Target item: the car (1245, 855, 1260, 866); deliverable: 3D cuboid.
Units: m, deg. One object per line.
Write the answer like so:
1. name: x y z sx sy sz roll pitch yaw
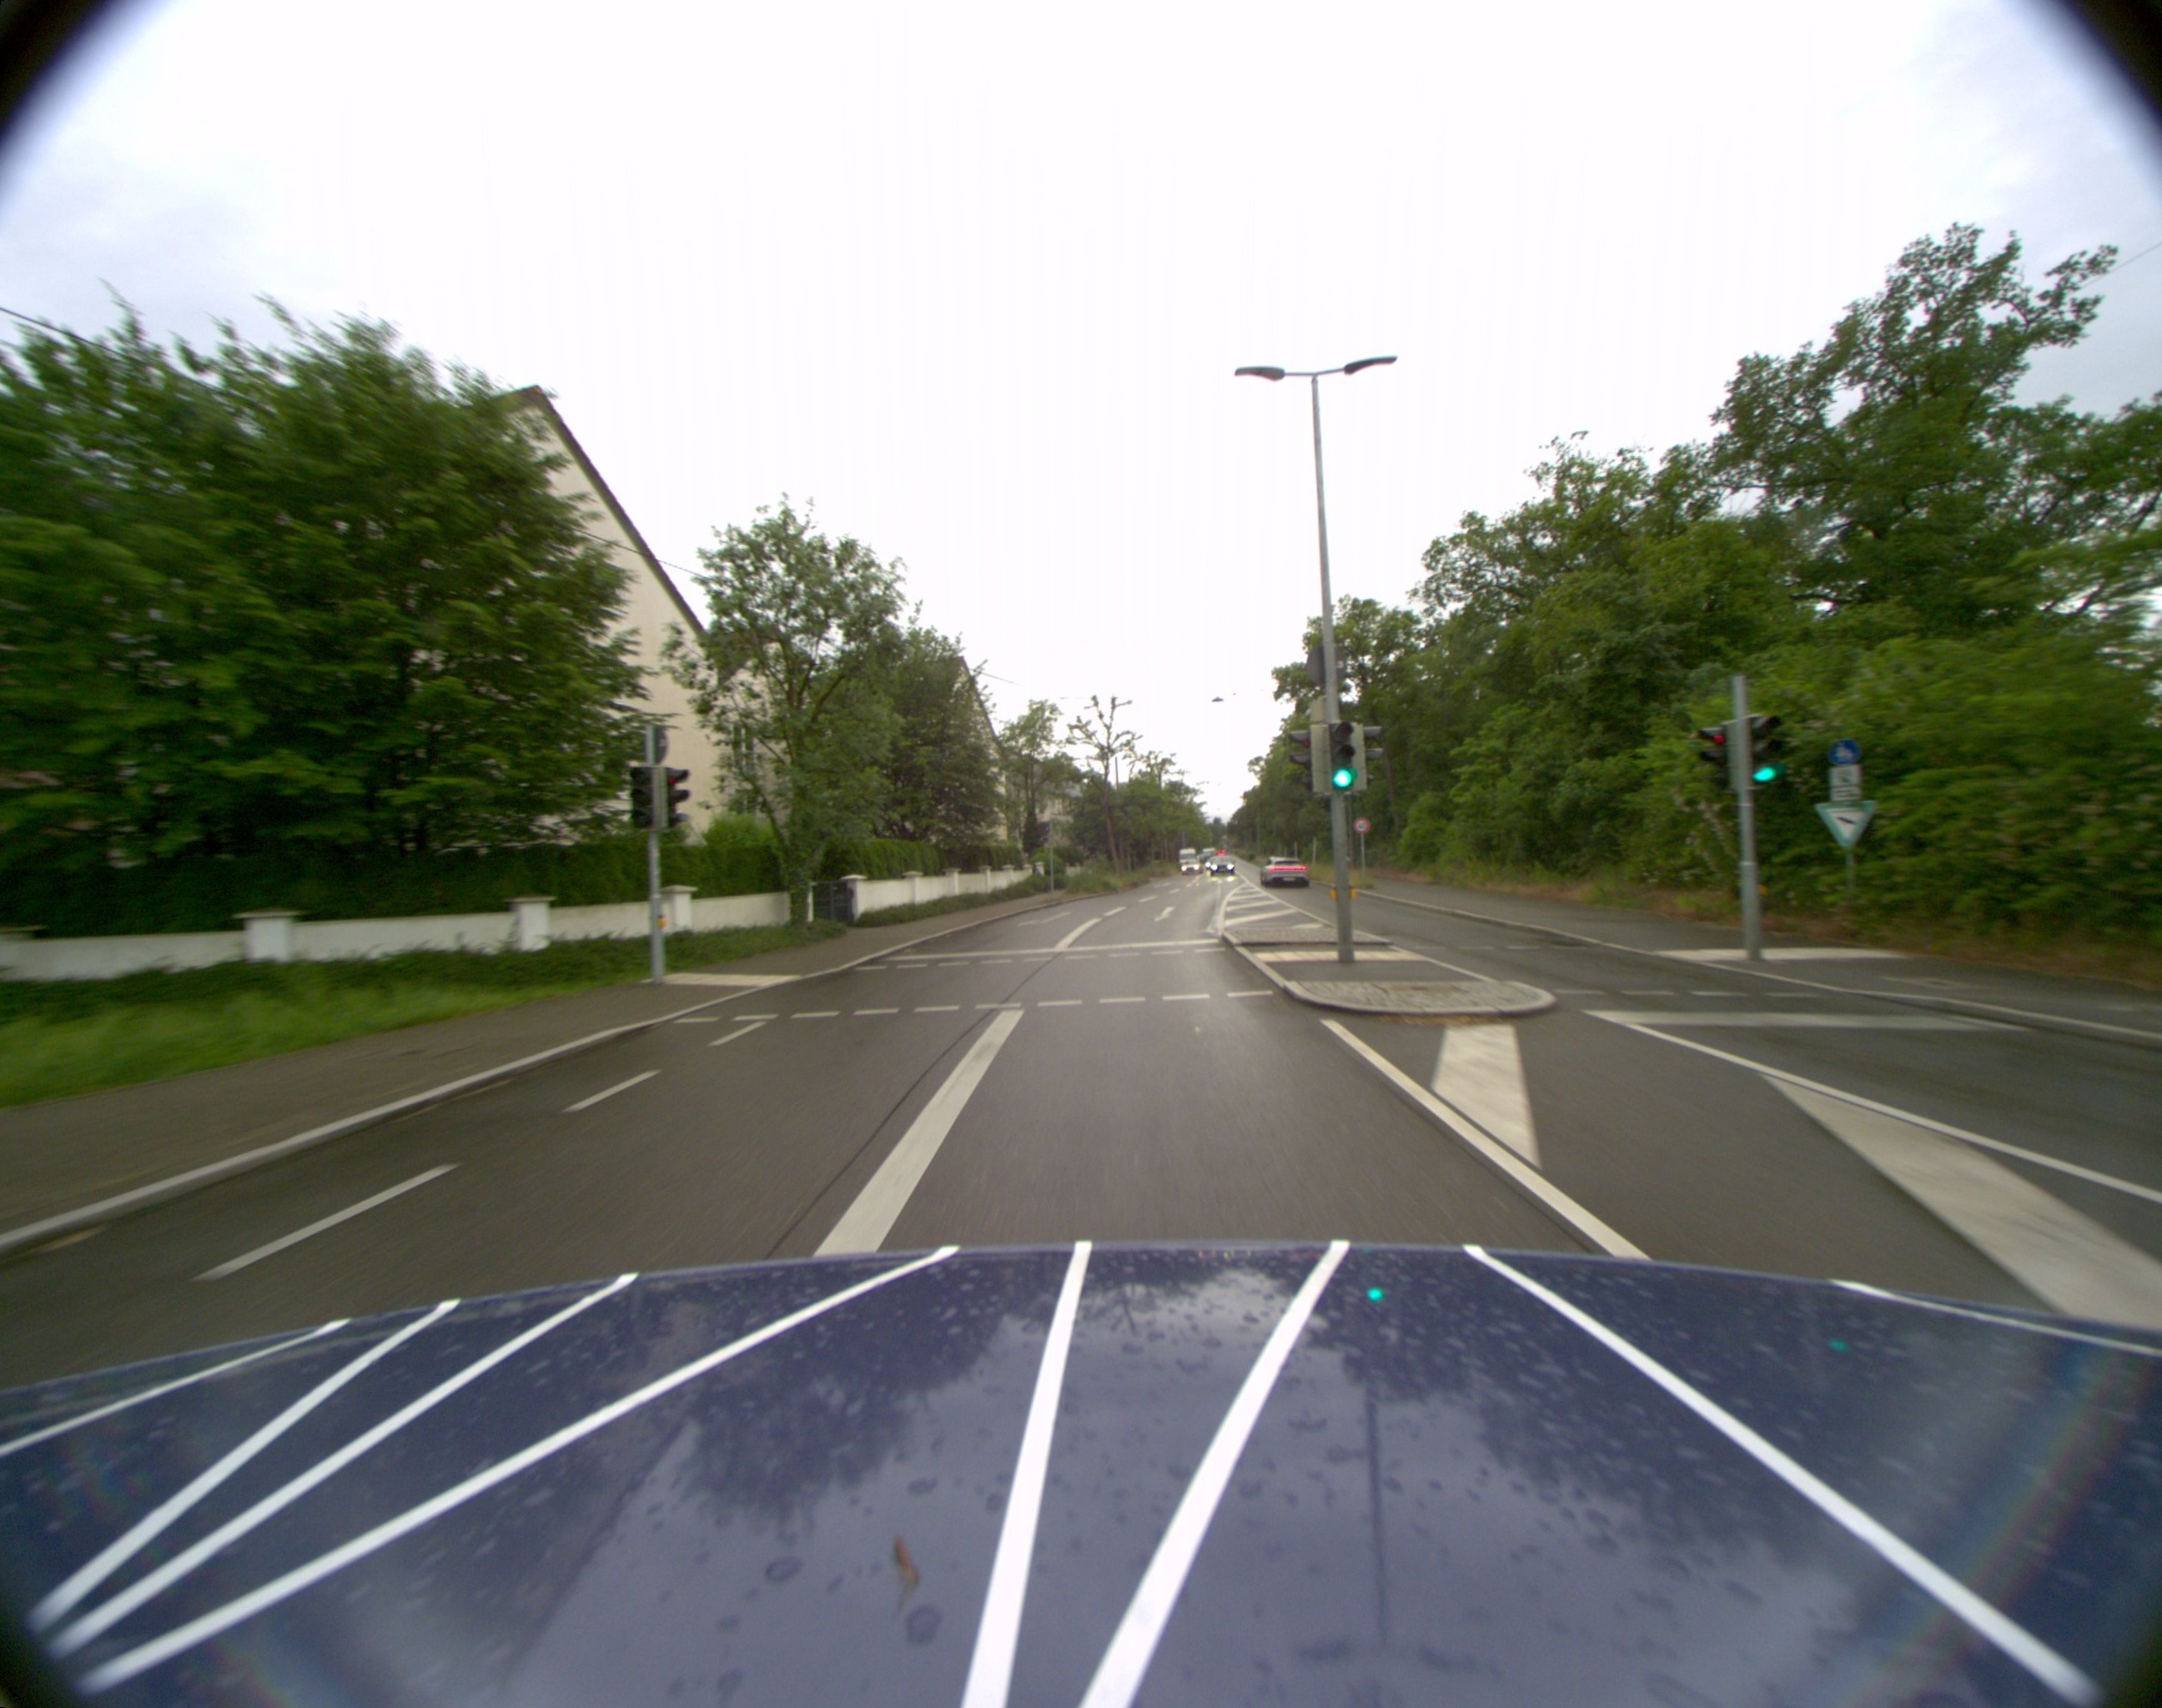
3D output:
1. car: 26.270 0.961 116.280 1.943 1.593 4.608 -1 0 10

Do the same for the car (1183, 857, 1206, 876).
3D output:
1. car: 10.203 1.081 68.031 1.943 1.593 4.608 -1 0 10

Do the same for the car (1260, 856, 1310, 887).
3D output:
1. car: 9.661 0.782 36.310 1.943 1.368 4.608 -1 0 11

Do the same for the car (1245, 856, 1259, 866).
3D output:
1. car: 27.985 1.171 124.668 1.943 1.593 4.608 -1 0 10

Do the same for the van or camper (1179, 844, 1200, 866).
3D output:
1. van or camper: 12.745 0.139 89.340 1.997 2.438 4.726 -2 0 12

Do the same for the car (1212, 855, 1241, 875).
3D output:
1. car: 11.125 0.843 58.314 1.943 1.446 4.607 -1 0 8

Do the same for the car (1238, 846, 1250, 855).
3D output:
1. car: 30.707 -0.586 143.287 1.943 1.593 4.608 -1 0 10
